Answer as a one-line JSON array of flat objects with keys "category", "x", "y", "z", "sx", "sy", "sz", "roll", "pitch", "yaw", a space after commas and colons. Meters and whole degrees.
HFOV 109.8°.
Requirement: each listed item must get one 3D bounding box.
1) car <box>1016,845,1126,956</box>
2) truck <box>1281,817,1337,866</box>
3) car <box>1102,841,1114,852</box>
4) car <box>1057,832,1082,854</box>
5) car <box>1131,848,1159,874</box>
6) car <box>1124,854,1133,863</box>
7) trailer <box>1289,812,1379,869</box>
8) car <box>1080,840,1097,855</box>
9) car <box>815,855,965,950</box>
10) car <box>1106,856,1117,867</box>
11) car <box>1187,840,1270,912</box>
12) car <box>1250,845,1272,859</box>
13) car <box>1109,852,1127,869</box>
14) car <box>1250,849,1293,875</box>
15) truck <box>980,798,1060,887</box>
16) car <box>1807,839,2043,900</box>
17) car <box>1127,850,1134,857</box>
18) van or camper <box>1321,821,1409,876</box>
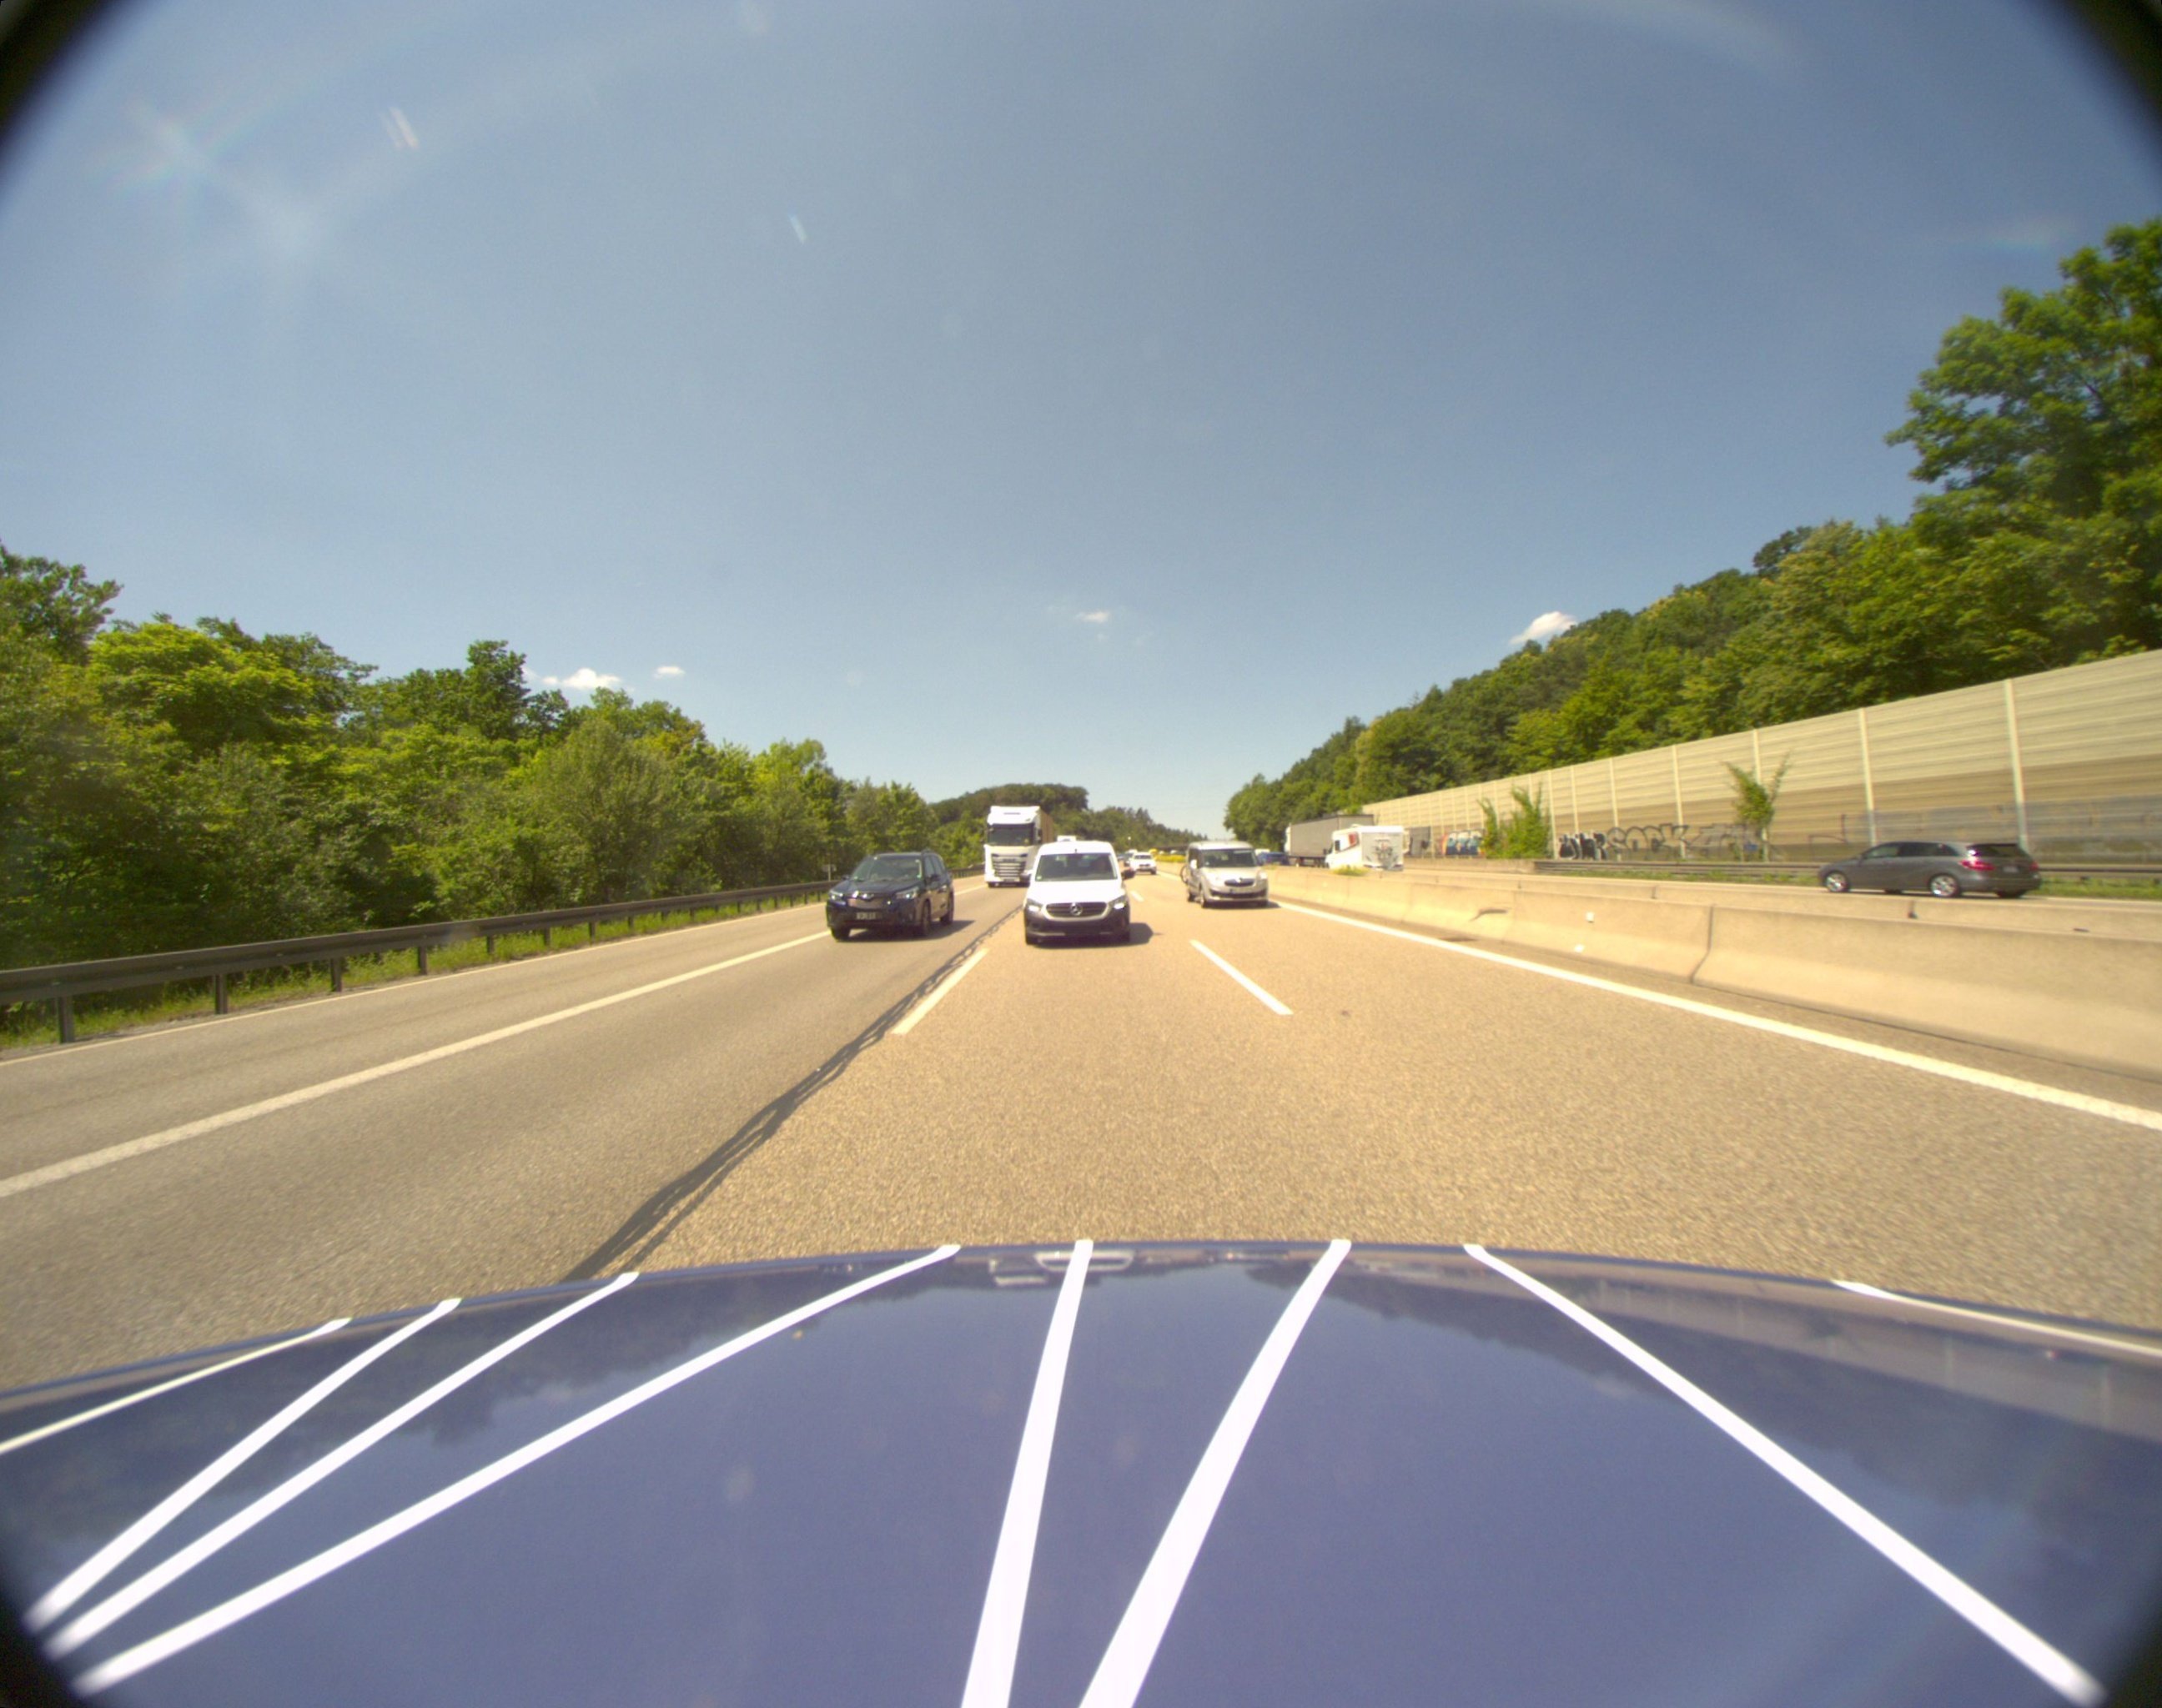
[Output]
[{"category": "car", "x": -0.030, "y": 0.725, "z": 14.345, "sx": 1.729, "sy": 1.760, "sz": 4.313, "roll": -1, "pitch": 1, "yaw": 3}, {"category": "truck", "x": 19.566, "y": -1.072, "z": 65.689, "sx": 2.819, "sy": 3.886, "sz": 7.315, "roll": -1, "pitch": 1, "yaw": 2}, {"category": "car", "x": 6.397, "y": -1.781, "z": 180.693, "sx": 2.721, "sy": 2.534, "sz": 5.941, "roll": -1, "pitch": 1, "yaw": 3}, {"category": "car", "x": -1.346, "y": -1.383, "z": 96.038, "sx": 2.721, "sy": 2.534, "sz": 5.941, "roll": -1, "pitch": 1, "yaw": 3}, {"category": "car", "x": 4.788, "y": 0.515, "z": 57.180, "sx": 1.998, "sy": 1.827, "sz": 4.000, "roll": -1, "pitch": 0, "yaw": 3}, {"category": "car", "x": 10.715, "y": 0.997, "z": 172.137, "sx": 1.998, "sy": 2.002, "sz": 4.000, "roll": -1, "pitch": 0, "yaw": 3}, {"category": "trailer", "x": 19.390, "y": -1.010, "z": 59.495, "sx": 2.819, "sy": 3.886, "sz": 13.826, "roll": -1, "pitch": 1, "yaw": 2}, {"category": "car", "x": 1.438, "y": -1.247, "z": 134.786, "sx": 2.721, "sy": 2.534, "sz": 5.941, "roll": -1, "pitch": 1, "yaw": 3}, {"category": "car", "x": -3.812, "y": 0.890, "z": 15.980, "sx": 1.816, "sy": 1.658, "sz": 4.204, "roll": -1, "pitch": 1, "yaw": 3}, {"category": "car", "x": 5.405, "y": 1.328, "z": 135.631, "sx": 1.902, "sy": 2.002, "sz": 4.000, "roll": -1, "pitch": 0, "yaw": 1}, {"category": "car", "x": 4.050, "y": 0.557, "z": 21.436, "sx": 1.780, "sy": 1.833, "sz": 4.001, "roll": -1, "pitch": 0, "yaw": 3}, {"category": "car", "x": 25.400, "y": -0.259, "z": 107.427, "sx": 1.926, "sy": 1.856, "sz": 5.303, "roll": -1, "pitch": 1, "yaw": 1}, {"category": "car", "x": 4.511, "y": 0.738, "z": 93.037, "sx": 1.998, "sy": 2.002, "sz": 4.000, "roll": -1, "pitch": 0, "yaw": 1}, {"category": "car", "x": 12.054, "y": 0.485, "z": 48.282, "sx": 1.715, "sy": 1.529, "sz": 4.128, "roll": -1, "pitch": 0, "yaw": 0}, {"category": "truck", "x": -3.105, "y": -0.578, "z": 44.262, "sx": 2.789, "sy": 4.144, "sz": 16.268, "roll": -2, "pitch": 0, "yaw": 2}, {"category": "car", "x": 22.535, "y": 0.375, "z": 20.594, "sx": 1.581, "sy": 1.453, "sz": 4.388, "roll": -1, "pitch": 0, "yaw": 1}, {"category": "car", "x": 13.432, "y": -0.110, "z": 208.022, "sx": 1.678, "sy": 2.002, "sz": 3.906, "roll": -1, "pitch": 0, "yaw": 1}, {"category": "van or camper", "x": 15.347, "y": -0.327, "z": 41.619, "sx": 2.275, "sy": 2.720, "sz": 6.804, "roll": -1, "pitch": 1, "yaw": 0}]
